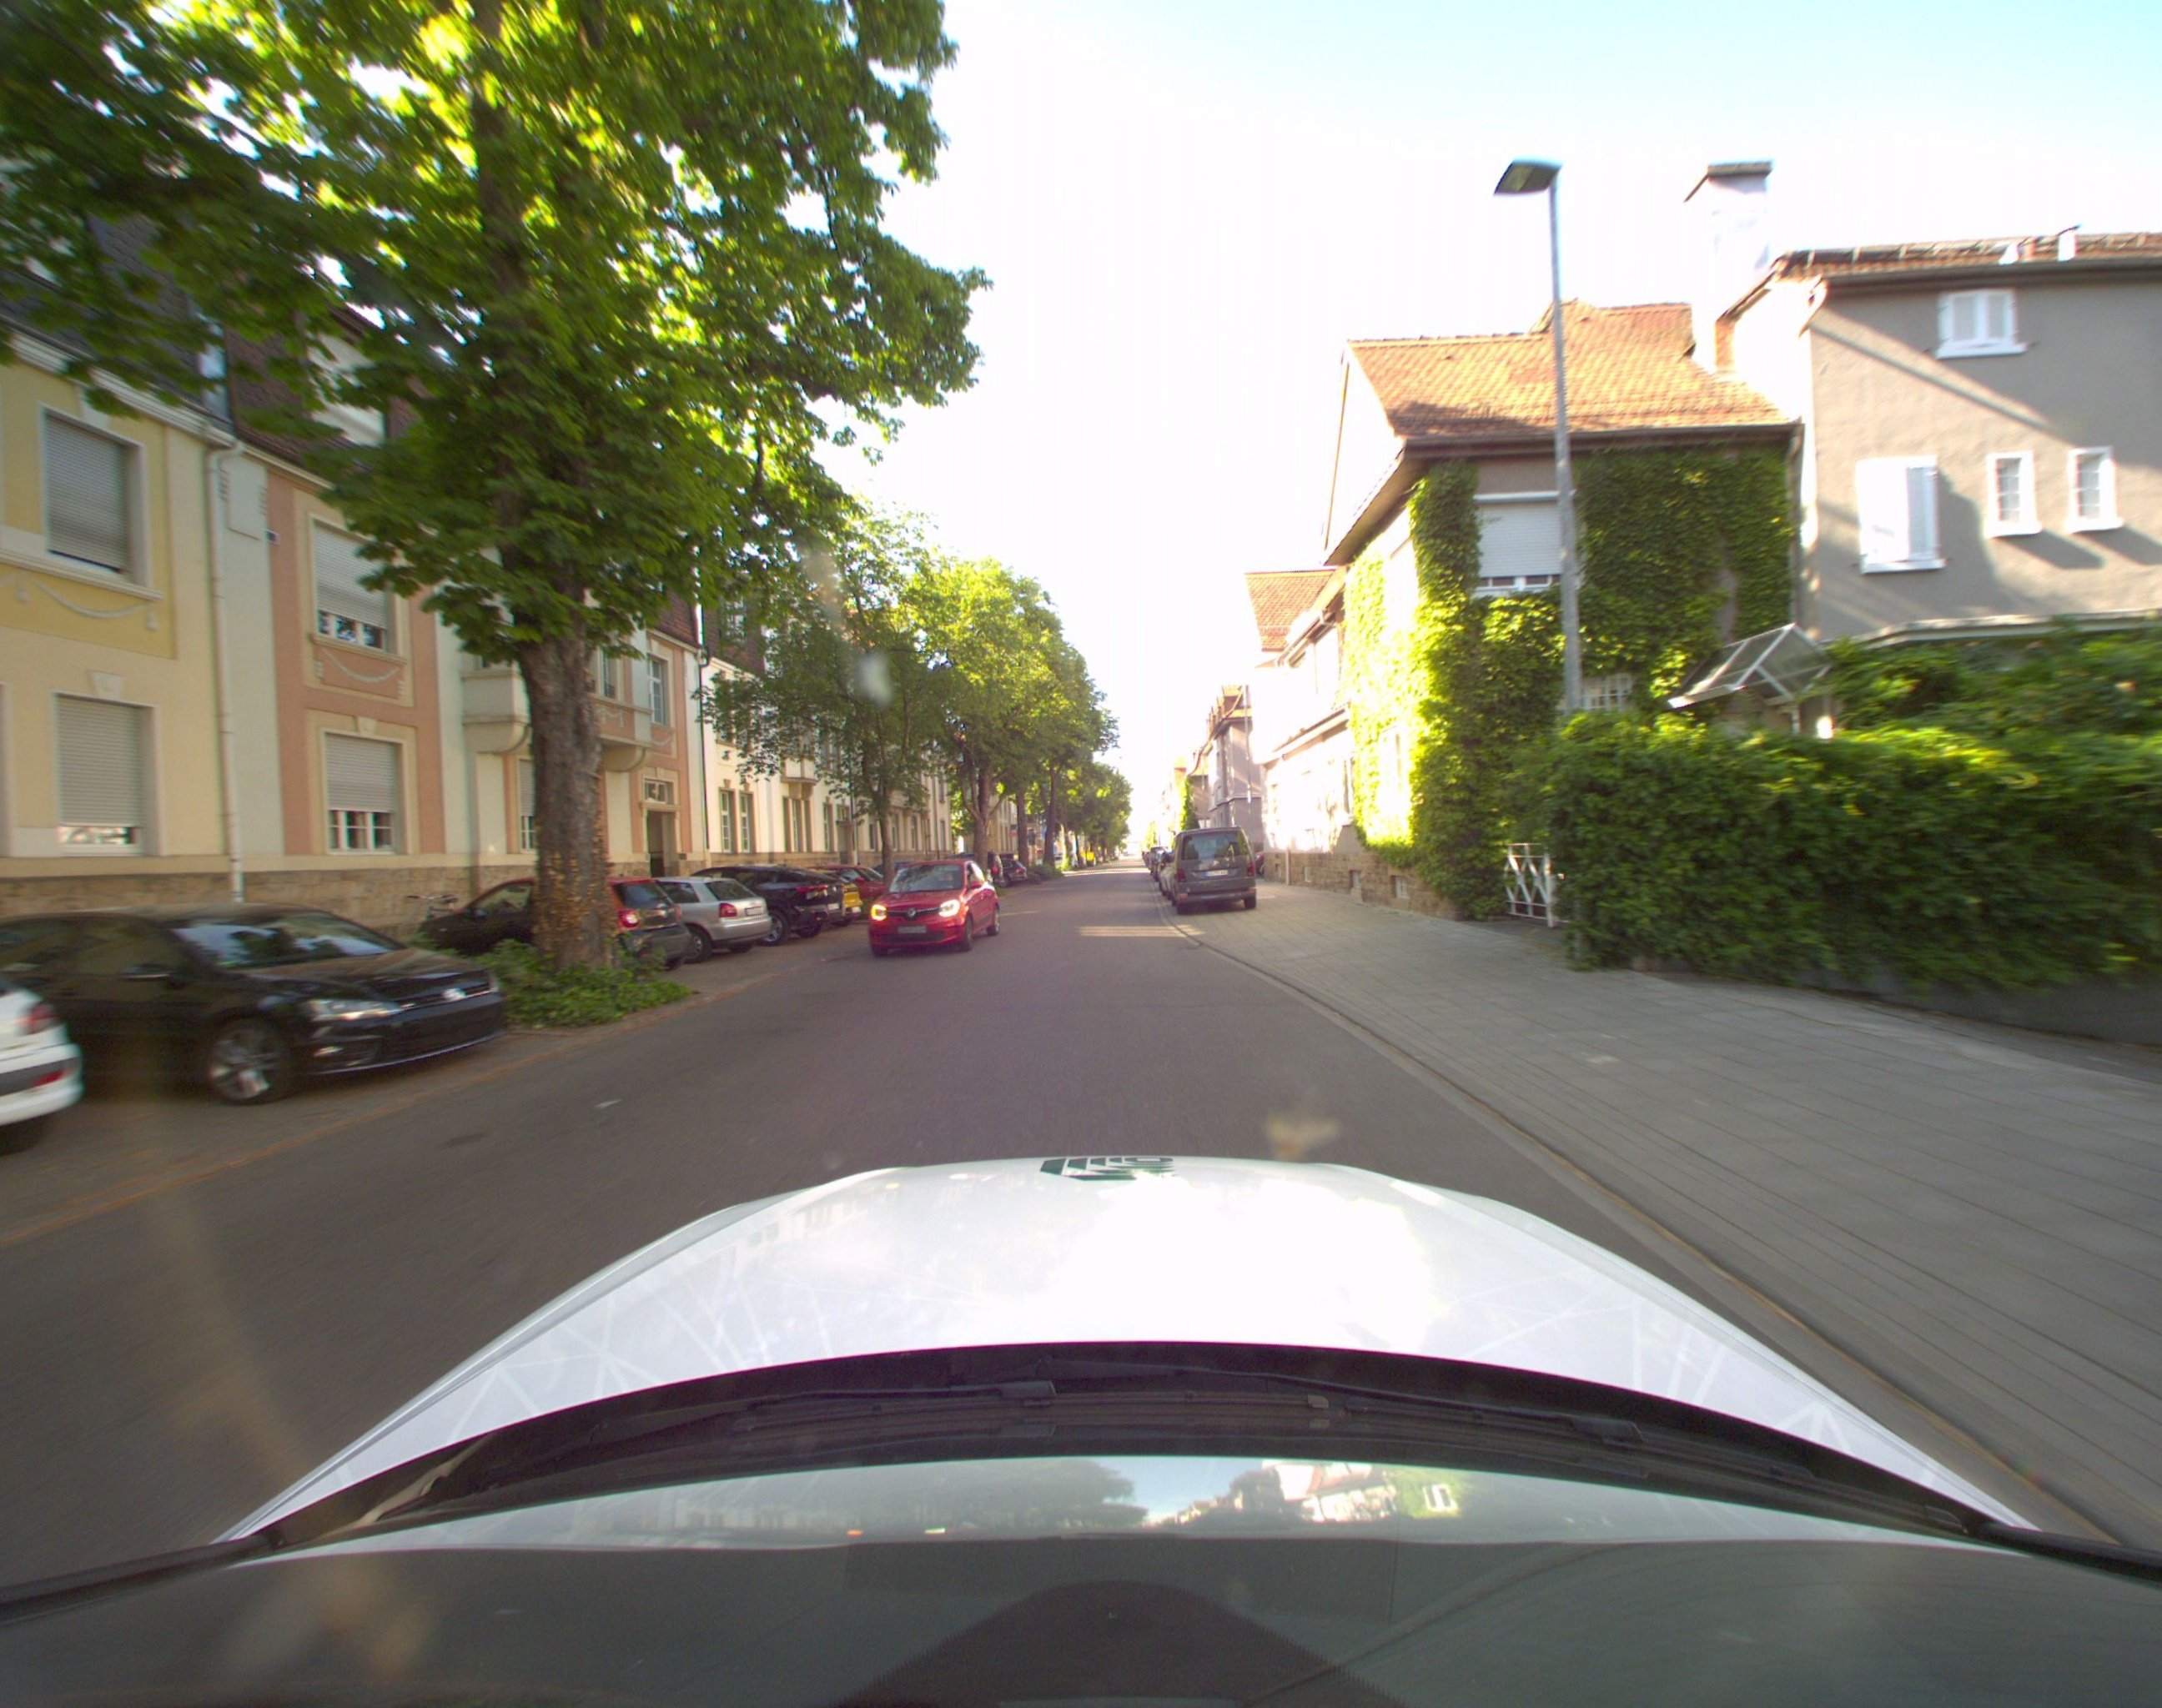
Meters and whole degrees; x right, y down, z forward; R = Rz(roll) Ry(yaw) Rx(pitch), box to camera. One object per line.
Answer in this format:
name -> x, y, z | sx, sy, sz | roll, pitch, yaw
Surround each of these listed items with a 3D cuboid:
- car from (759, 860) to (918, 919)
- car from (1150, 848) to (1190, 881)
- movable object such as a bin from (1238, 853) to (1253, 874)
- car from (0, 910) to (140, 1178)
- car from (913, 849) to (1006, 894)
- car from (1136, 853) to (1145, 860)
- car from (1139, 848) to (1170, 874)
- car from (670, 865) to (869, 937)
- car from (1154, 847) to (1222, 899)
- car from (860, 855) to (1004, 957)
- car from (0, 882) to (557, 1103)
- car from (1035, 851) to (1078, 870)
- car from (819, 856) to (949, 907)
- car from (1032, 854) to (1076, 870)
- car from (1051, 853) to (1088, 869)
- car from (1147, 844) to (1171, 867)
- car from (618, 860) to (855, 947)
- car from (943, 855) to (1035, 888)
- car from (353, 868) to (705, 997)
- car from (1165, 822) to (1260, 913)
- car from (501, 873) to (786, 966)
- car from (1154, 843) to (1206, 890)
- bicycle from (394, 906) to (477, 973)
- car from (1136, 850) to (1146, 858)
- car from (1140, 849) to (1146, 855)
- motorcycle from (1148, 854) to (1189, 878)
car -> -6.895, 0.998, 23.432 | 3.970, 1.514, 1.749 | -2, -1, 3
car -> 4.594, 0.487, 42.536 | 1.846, 1.493, 4.614 | -4, 0, 5
movable object such as a bin -> 8.318, 0.465, 41.246 | 0.566, 1.039, 0.618 | -4, 0, 1
car -> -7.756, 1.138, 4.461 | 3.416, 1.452, 1.706 | -2, -1, 5
car -> -5.628, 0.806, 38.028 | 3.964, 1.855, 1.830 | -2, 0, 2
car -> 14.007, 0.618, 191.551 | 1.763, 1.631, 3.871 | -3, 0, 5
car -> 4.906, 0.474, 54.773 | 1.693, 1.539, 4.157 | -5, 0, 2
car -> -7.076, 1.041, 18.742 | 3.772, 1.462, 1.866 | -2, 0, 5
car -> 3.453, 0.574, 26.956 | 1.673, 1.457, 4.440 | -3, 0, 1
car -> -2.541, 0.827, 14.741 | 1.634, 1.508, 3.705 | -4, 0, 3
car -> -6.958, 1.070, 6.842 | 3.968, 1.482, 1.788 | -2, 0, 4
car -> -2.341, 0.601, 77.728 | 3.974, 1.761, 1.798 | -1, -1, 0
car -> -6.799, 0.935, 28.372 | 3.970, 1.592, 1.861 | -2, 0, 3
car -> -2.495, 0.741, 75.249 | 3.974, 1.464, 1.797 | -1, -1, 0
car -> -1.311, 0.750, 91.338 | 3.980, 1.552, 1.834 | -3, 0, -5
car -> 7.030, 0.113, 73.763 | 1.896, 1.870, 4.678 | -6, 0, 4
car -> -6.919, 0.965, 16.627 | 3.968, 1.566, 1.866 | -2, 0, 5
car -> -4.794, 0.918, 42.798 | 4.514, 1.503, 1.893 | -2, 0, 2
car -> -7.933, 1.091, 11.918 | 3.968, 1.508, 1.724 | -4, -1, 4
car -> 3.206, 0.287, 20.771 | 1.857, 1.916, 4.788 | -5, 0, 4
car -> -7.491, 1.101, 14.191 | 3.968, 1.403, 1.832 | -1, 0, 5
car -> 3.835, 0.441, 32.123 | 1.781, 1.600, 4.005 | -5, 0, 5
bicycle -> -11.830, 1.546, 14.968 | 0.430, 1.065, 1.256 | -3, 0, 4
car -> 11.973, -0.012, 162.967 | 1.763, 1.631, 3.871 | -3, 0, 5
car -> 19.444, -0.622, 254.529 | 1.763, 1.631, 3.871 | -3, 0, 5
motorcycle -> 5.055, 0.674, 47.241 | 2.199, 1.339, 0.916 | -1, 1, -18
